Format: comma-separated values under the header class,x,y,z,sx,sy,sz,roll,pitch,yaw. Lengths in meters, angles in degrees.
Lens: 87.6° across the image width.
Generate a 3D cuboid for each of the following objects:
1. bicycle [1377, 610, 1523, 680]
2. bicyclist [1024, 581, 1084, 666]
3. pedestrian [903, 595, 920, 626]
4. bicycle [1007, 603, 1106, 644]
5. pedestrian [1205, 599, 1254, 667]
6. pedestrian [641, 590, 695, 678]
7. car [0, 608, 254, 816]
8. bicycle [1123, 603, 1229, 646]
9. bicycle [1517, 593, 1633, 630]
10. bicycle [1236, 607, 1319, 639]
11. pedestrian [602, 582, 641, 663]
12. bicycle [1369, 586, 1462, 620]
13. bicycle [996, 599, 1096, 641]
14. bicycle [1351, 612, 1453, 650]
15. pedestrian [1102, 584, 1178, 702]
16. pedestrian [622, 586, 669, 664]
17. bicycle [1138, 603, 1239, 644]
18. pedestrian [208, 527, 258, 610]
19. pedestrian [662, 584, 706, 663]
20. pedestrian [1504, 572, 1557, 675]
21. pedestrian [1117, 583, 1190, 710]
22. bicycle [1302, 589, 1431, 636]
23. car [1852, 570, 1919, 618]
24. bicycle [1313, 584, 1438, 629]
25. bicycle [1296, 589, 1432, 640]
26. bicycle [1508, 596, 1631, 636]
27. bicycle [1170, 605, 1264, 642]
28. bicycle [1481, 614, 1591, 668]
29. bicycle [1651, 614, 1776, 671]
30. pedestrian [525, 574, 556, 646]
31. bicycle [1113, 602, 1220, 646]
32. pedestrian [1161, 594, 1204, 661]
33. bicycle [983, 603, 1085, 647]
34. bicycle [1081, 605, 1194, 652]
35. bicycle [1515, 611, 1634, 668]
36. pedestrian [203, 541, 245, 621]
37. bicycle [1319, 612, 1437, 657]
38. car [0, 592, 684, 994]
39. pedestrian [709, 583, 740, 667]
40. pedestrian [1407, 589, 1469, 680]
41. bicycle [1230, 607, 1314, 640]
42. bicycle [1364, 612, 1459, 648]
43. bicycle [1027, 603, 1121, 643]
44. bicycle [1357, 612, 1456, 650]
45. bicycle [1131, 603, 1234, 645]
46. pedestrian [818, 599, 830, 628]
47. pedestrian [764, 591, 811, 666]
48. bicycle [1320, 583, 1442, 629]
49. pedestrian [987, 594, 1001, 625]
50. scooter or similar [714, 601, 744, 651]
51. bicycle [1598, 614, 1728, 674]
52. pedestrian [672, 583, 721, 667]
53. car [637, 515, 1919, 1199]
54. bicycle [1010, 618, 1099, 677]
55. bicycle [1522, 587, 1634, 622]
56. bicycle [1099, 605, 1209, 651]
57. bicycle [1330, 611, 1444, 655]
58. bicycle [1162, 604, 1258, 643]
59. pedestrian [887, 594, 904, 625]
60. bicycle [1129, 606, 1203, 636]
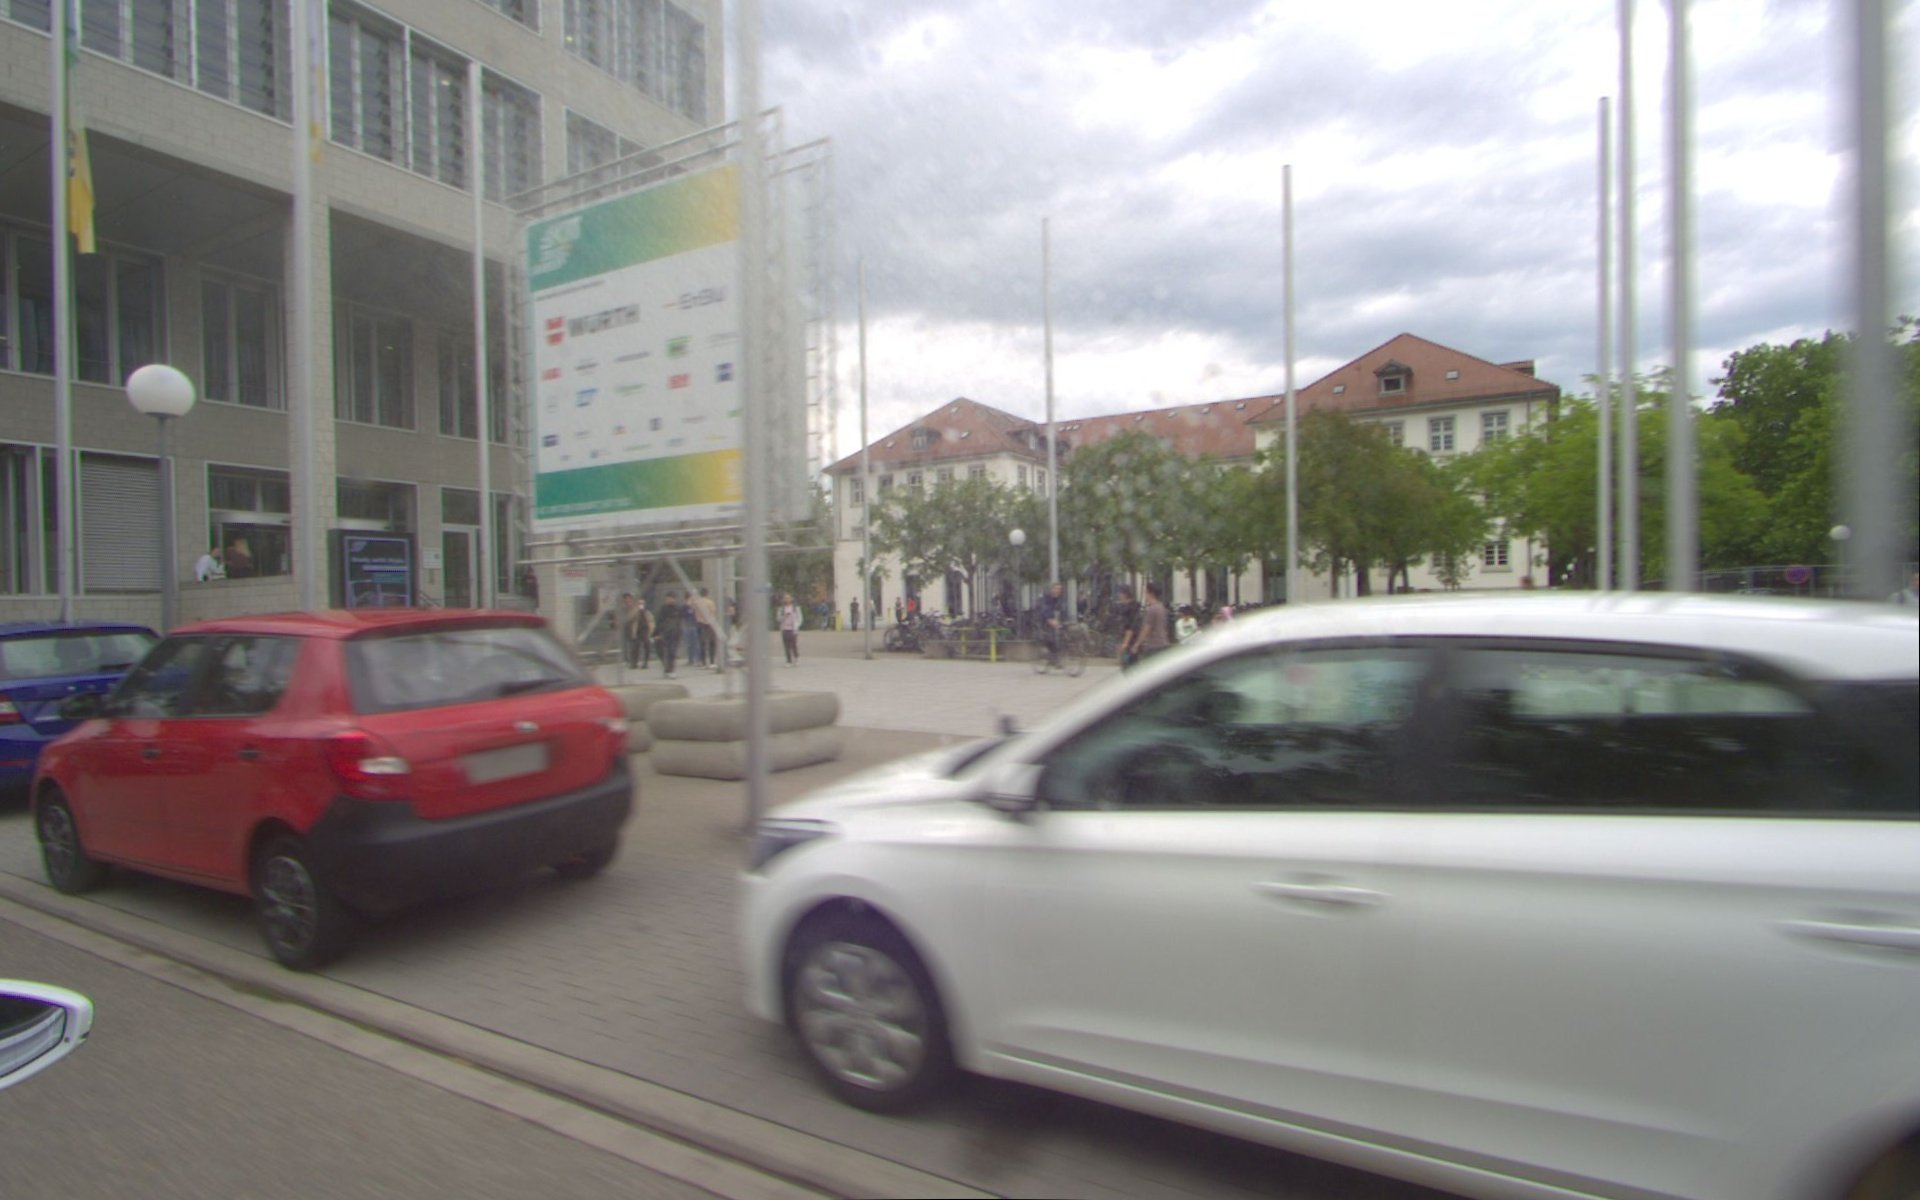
class,x,y,z,sx,sy,sz,roll,pitch,yaw
bicycle,9.122,0.823,18.723,2.375,1.185,0.455,2,1,27
bicyclist,1.901,0.466,20.337,0.865,1.663,0.862,-1,1,-34
pedestrian,-2.582,0.552,53.650,0.656,1.663,0.660,-1,1,28
bicycle,3.007,0.720,31.492,3.063,1.185,0.744,2,1,33
pedestrian,5.877,0.719,21.840,0.952,1.439,0.850,-1,0,19
pedestrian,-5.790,0.658,19.897,0.695,1.692,0.754,1,1,32
car,-8.339,0.845,8.780,4.308,1.430,1.693,-1,1,28
bicycle,6.565,0.724,30.563,3.063,1.185,0.744,2,1,33
bicycle,21.300,0.412,34.729,3.351,1.185,1.048,-2,-1,37
bicycle,12.753,0.914,40.315,3.062,1.185,0.744,2,1,32
pedestrian,-7.925,0.537,23.470,0.611,1.865,0.589,-1,0,32
bicycle,17.020,0.087,37.445,3.063,1.185,0.744,2,1,33
bicycle,2.621,0.595,30.811,3.063,1.185,0.744,2,1,33
bicycle,14.982,1.033,33.990,3.063,1.185,0.744,2,1,33
pedestrian,2.725,0.629,15.227,0.895,1.736,0.691,-1,3,-24
pedestrian,-7.110,0.561,22.669,0.595,1.738,0.775,-1,0,32
bicycle,7.258,0.745,31.952,3.063,1.185,0.744,2,1,33
pedestrian,-15.135,-0.637,20.869,0.797,1.681,0.627,1,1,-35
pedestrian,-6.453,0.525,23.416,0.723,1.809,0.720,1,2,17
pedestrian,10.567,0.432,18.563,0.502,1.858,0.672,-1,1,-19
pedestrian,2.733,0.640,14.142,0.769,1.735,0.645,-1,1,-24
bicycle,10.657,0.347,26.336,3.064,1.185,0.744,-1,0,33
car,37.182,-0.259,38.361,3.991,1.776,1.998,-1,0,14
bicycle,11.315,0.201,27.320,3.064,1.185,0.744,-1,0,33
bicycle,10.166,0.343,25.278,3.063,1.185,0.744,2,1,33
bicycle,19.931,0.519,32.791,3.349,1.185,1.049,2,0,37
bicycle,8.895,0.796,34.747,3.062,1.185,0.744,2,1,32
bicycle,11.726,0.836,20.433,1.900,1.063,0.456,0,1,17
bicycle,14.781,0.817,19.694,1.904,1.063,0.455,0,1,27
pedestrian,-12.049,0.295,28.758,0.531,2.040,0.595,-1,1,30
bicycle,6.137,0.711,29.913,3.063,1.185,0.744,2,1,33
pedestrian,4.896,0.597,22.069,0.754,1.432,0.673,-1,0,-1
bicycle,2.202,0.729,30.146,3.063,1.185,0.744,2,1,33
bicycle,4.908,0.774,27.886,3.063,1.185,0.619,2,1,33
bicycle,11.804,0.757,19.288,1.900,1.063,0.456,-1,1,16
pedestrian,-15.807,-0.405,21.504,0.625,1.681,0.799,1,1,-43
bicycle,12.209,0.990,29.311,3.063,1.185,0.744,2,1,33
car,-3.729,0.761,5.654,4.210,1.493,1.708,-1,2,31
pedestrian,-5.441,0.571,23.172,0.592,1.890,0.778,-2,1,-11
pedestrian,9.370,0.657,19.652,0.951,1.727,0.851,-1,2,16
bicycle,12.317,0.901,39.566,3.062,1.185,0.744,2,1,32
bicycle,16.476,1.079,36.614,3.063,1.185,0.744,2,1,33
bicycle,3.767,0.744,33.200,3.063,1.185,0.744,2,1,33
bicycle,15.589,1.051,35.014,3.063,1.185,0.744,2,1,33
bicycle,6.915,0.735,31.247,3.063,1.185,0.744,2,1,33
pedestrian,-7.926,0.782,58.363,0.650,1.662,0.666,-1,0,-5
pedestrian,-3.977,0.647,23.056,0.727,1.663,0.926,1,1,-31
bicycle,11.819,0.154,28.215,3.063,1.185,0.744,2,1,33
pedestrian,1.815,0.507,53.230,0.650,1.663,0.666,-1,0,-3
scooter or similar,-6.599,0.726,28.646,0.397,1.388,1.492,2,0,3
bicycle,12.900,0.789,18.432,1.904,1.063,0.455,0,1,27
pedestrian,-5.825,0.547,22.185,0.724,1.808,0.763,-1,1,17
car,1.045,0.610,3.125,3.802,1.472,1.857,-1,0,31
bicycle,1.905,0.931,20.353,0.864,1.108,1.789,-1,0,-34
bicycle,21.959,0.157,35.636,3.350,1.185,1.048,-1,0,37
bicycle,5.610,0.795,29.162,3.063,1.185,0.744,2,1,33
bicycle,12.885,0.968,30.259,3.063,1.185,0.744,2,1,33
bicycle,8.480,0.783,34.091,3.062,1.185,0.744,2,1,32
pedestrian,-3.487,0.526,54.098,0.683,1.663,0.660,-1,1,29
bicycle,8.973,0.906,43.742,3.063,1.185,0.744,2,1,33
